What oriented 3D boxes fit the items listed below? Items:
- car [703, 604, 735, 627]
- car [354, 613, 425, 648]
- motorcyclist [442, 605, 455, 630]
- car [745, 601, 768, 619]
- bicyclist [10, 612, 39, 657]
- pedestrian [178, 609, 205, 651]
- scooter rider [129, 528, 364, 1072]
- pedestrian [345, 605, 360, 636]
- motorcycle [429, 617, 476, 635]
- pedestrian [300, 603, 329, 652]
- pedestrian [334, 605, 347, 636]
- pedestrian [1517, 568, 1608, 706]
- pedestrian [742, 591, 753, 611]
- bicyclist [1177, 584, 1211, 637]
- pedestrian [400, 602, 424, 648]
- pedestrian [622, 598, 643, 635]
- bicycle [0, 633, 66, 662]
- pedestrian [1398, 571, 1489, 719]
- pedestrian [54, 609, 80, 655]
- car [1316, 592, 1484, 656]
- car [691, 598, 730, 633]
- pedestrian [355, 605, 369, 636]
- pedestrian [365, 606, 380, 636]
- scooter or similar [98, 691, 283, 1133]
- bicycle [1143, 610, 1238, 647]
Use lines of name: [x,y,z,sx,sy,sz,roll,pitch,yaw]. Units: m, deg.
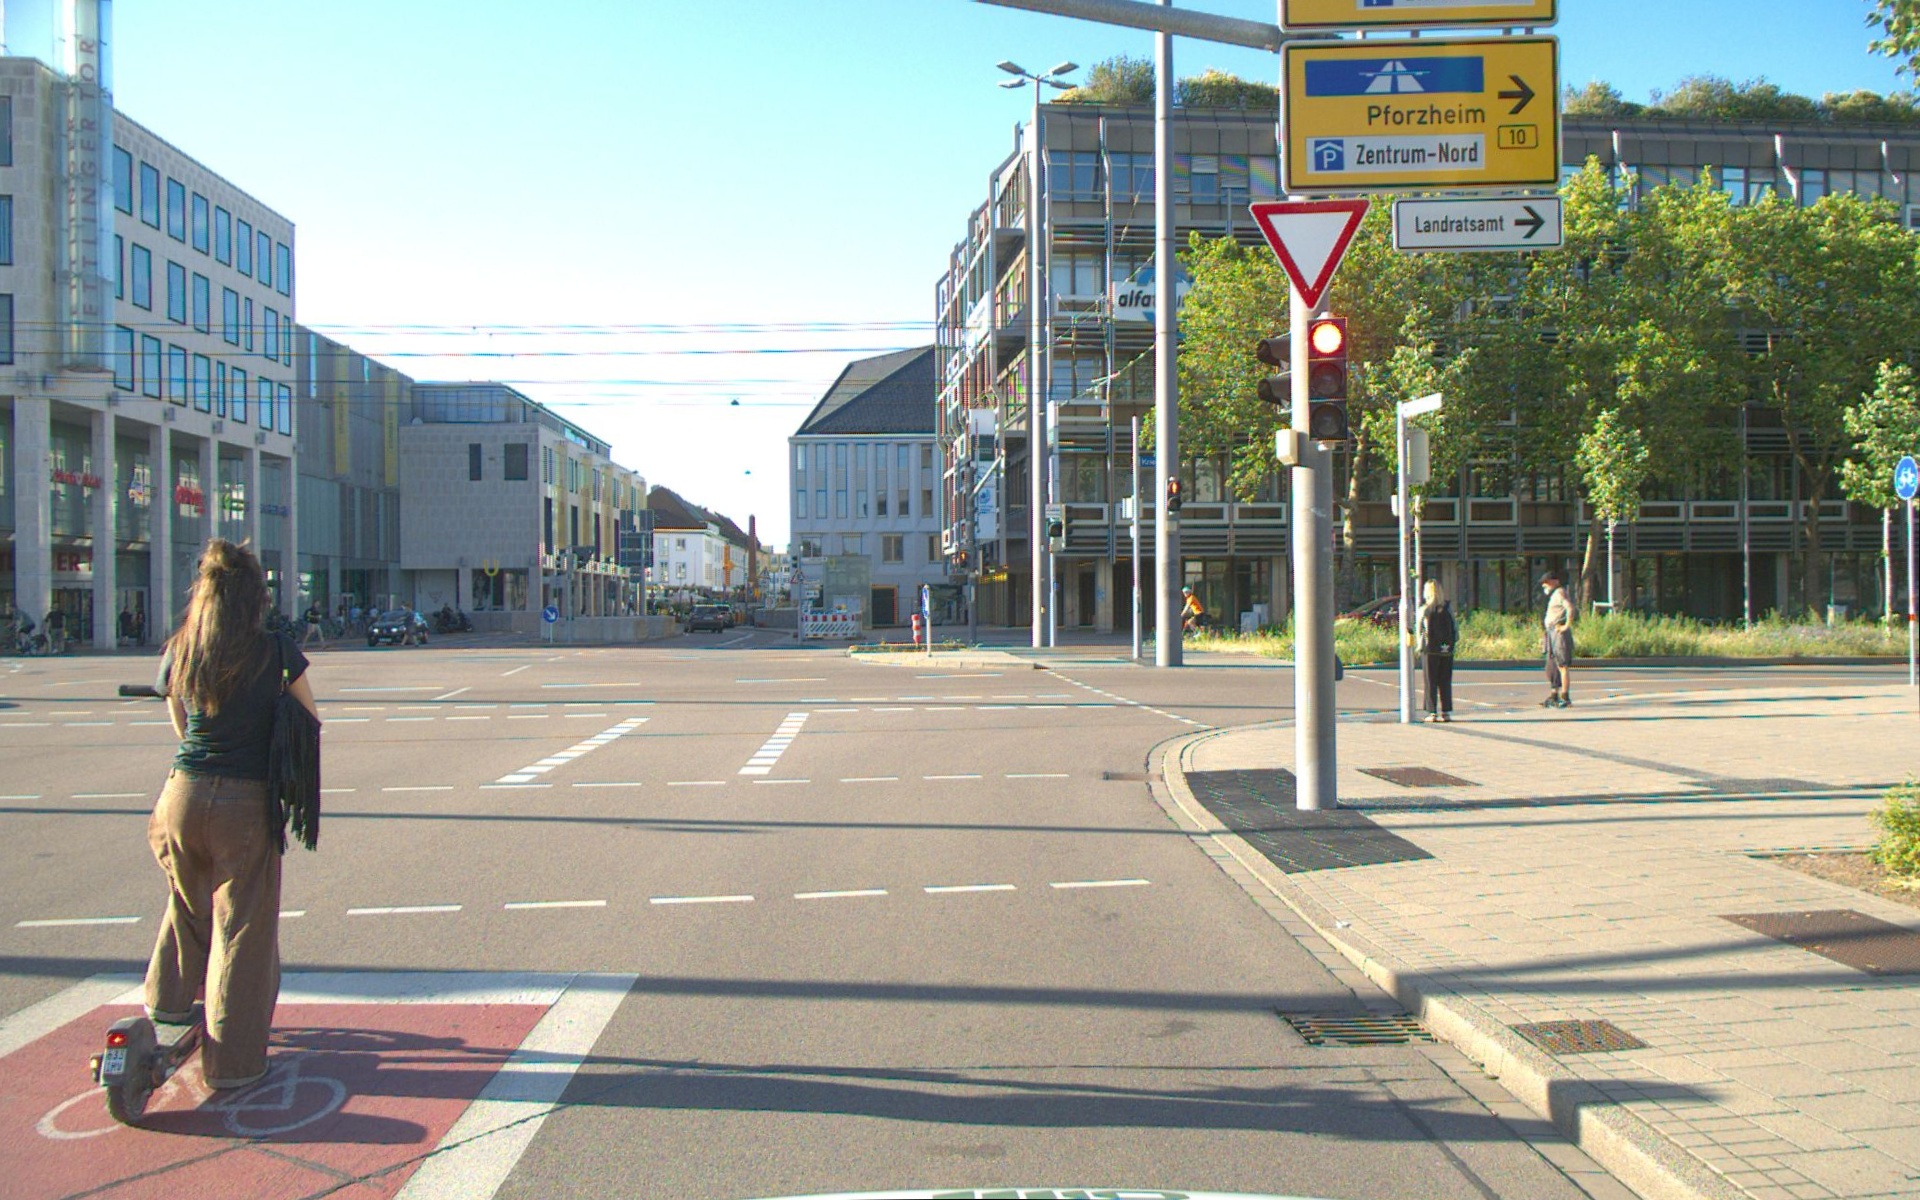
car: [-15.683,1.002,107.826,1.625,1.484,3.541,-1,0,-1]
car: [-23.888,1.257,69.389,1.642,1.381,4.019,-1,0,-2]
motorcyclist: [-30.244,1.030,97.824,0.616,1.430,0.661,1,-1,-9]
car: [-17.871,0.873,145.519,1.625,1.484,3.541,-1,0,-1]
bicyclist: [-31.474,1.154,55.619,0.613,1.473,0.589,-1,0,23]
pedestrian: [-30.887,1.213,66.488,0.760,1.667,0.626,-1,0,17]
scooter rider: [-2.141,0.570,5.006,0.542,1.556,0.448,-1,0,-9]
pedestrian: [-34.685,1.196,94.482,0.462,1.759,0.626,1,-1,33]
motorcycle: [-29.968,1.545,97.707,2.555,1.010,1.113,1,0,-10]
pedestrian: [-25.076,1.077,64.247,0.923,1.897,0.539,-1,0,16]
pedestrian: [-35.884,1.181,95.776,0.462,1.759,0.518,0,-1,38]
pedestrian: [7.717,0.463,21.196,0.854,1.736,0.768,-1,0,-3]
pedestrian: [-21.129,0.101,164.366,0.892,1.999,0.822,1,-1,-1]
bicyclist: [6.681,0.296,47.223,0.806,1.500,0.652,-1,0,-5]
pedestrian: [-20.823,0.937,62.837,0.685,1.718,0.619,-1,0,0]
pedestrian: [-16.252,0.797,82.075,0.881,1.814,0.808,-1,0,-1]
bicycle: [-31.364,1.590,55.818,0.622,0.919,2.218,-1,0,22]
pedestrian: [5.519,0.500,18.903,0.750,1.642,0.874,-1,0,-2]
pedestrian: [-32.629,1.160,60.444,0.580,1.674,0.629,-1,0,-1]
car: [12.386,0.663,46.602,4.212,1.713,1.820,-1,0,-11]
car: [-12.961,0.782,86.094,1.784,1.713,3.995,-1,0,-6]
pedestrian: [-35.138,1.200,97.210,0.461,1.759,0.627,1,-1,28]
pedestrian: [-33.835,1.213,95.271,0.462,1.759,0.692,0,-1,37]
scooter or similar: [-2.232,0.856,4.852,0.301,1.127,0.836,-1,0,-12]
bicycle: [6.568,0.814,47.205,2.517,0.992,1.047,-1,0,-4]
